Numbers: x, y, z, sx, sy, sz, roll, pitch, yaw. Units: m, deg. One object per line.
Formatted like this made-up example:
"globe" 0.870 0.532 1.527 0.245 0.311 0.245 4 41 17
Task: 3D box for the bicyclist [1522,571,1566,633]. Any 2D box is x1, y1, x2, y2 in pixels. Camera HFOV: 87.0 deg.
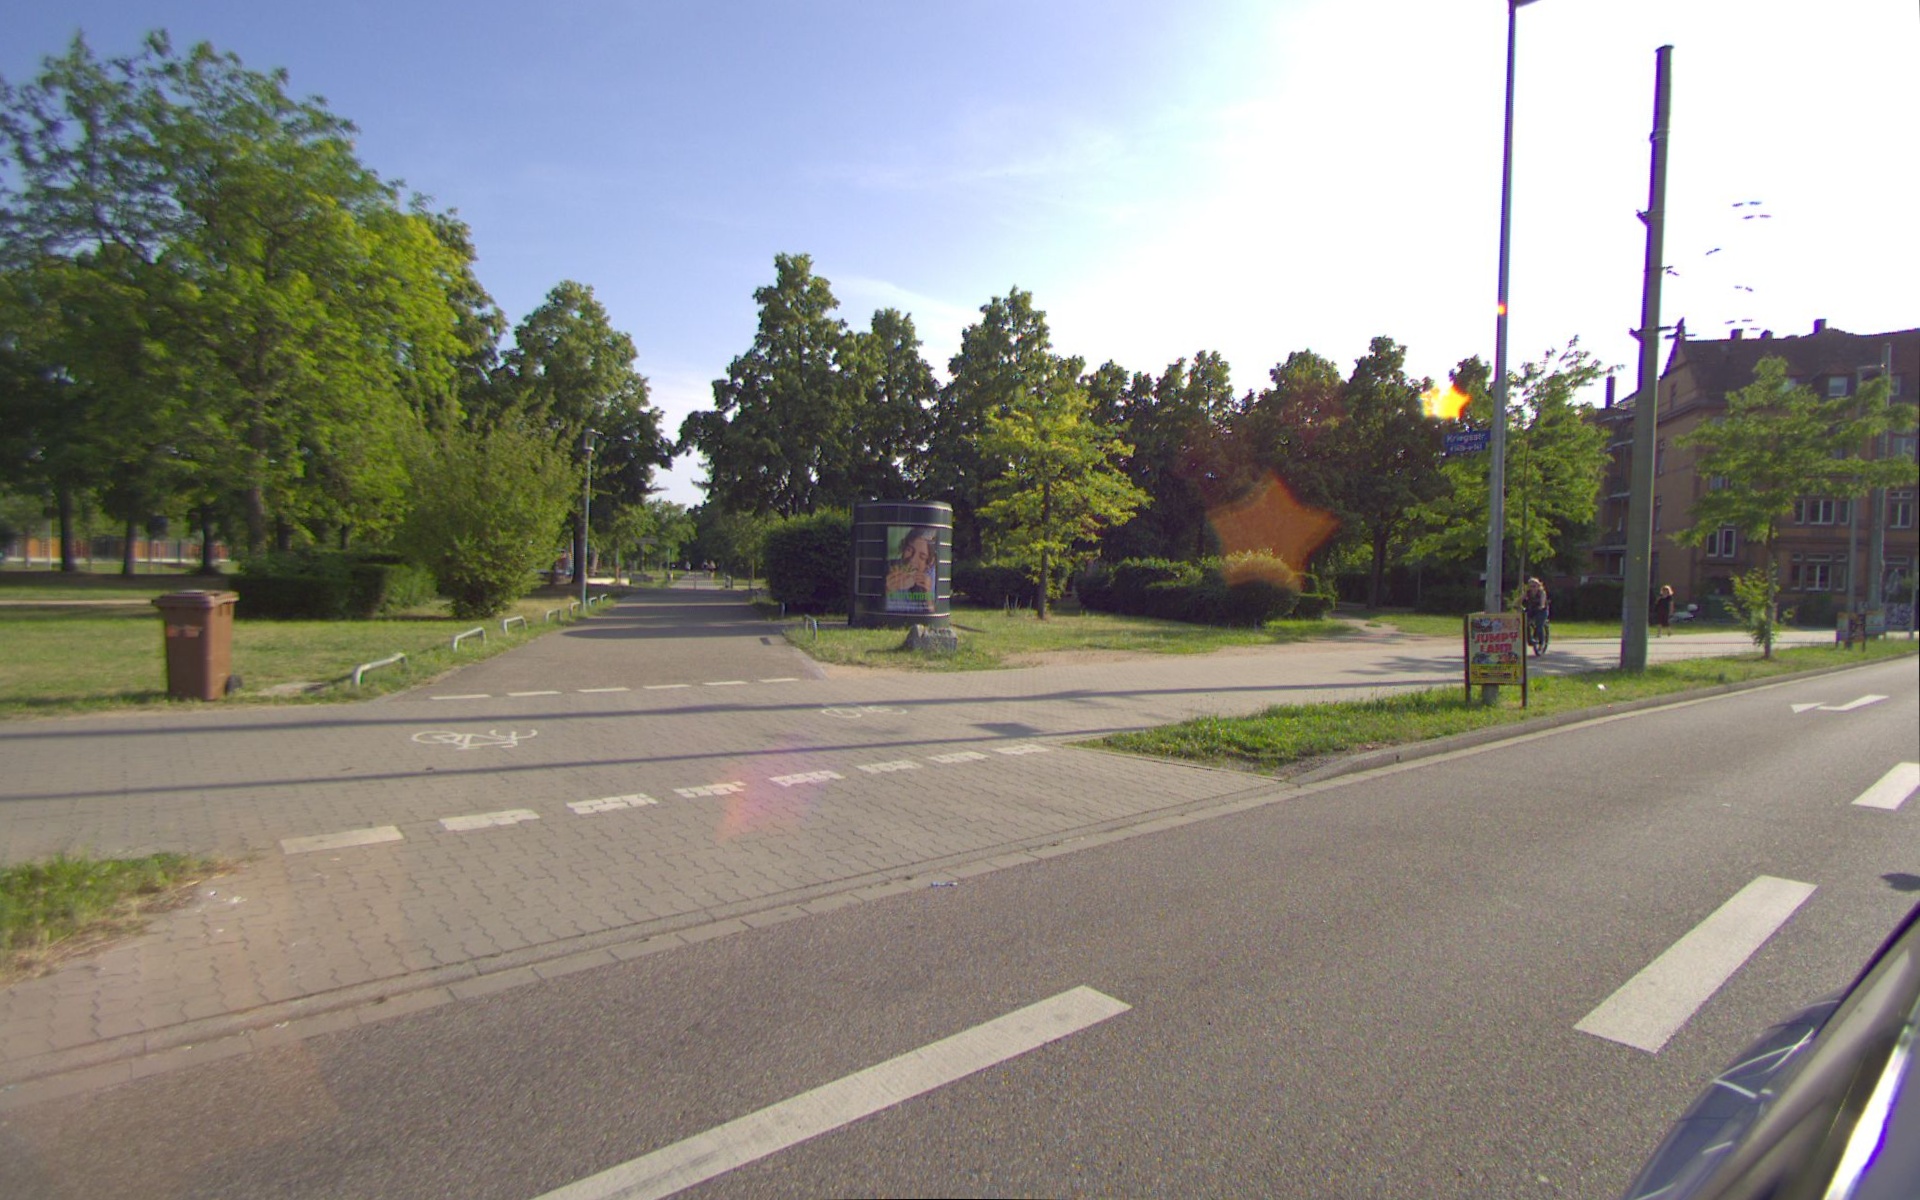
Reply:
"bicyclist" 12.496 0.036 21.650 0.854 1.278 0.535 0 2 -41

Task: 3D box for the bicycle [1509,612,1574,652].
"bicycle" 12.422 0.669 21.580 2.130 0.766 0.496 0 3 -41

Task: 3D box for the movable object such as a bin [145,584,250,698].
"movable object such as a bin" -6.592 0.341 8.769 0.447 0.929 0.605 2 1 1

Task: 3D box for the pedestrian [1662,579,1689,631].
"pedestrian" 23.602 0.162 33.382 0.607 1.706 0.621 1 0 -41
